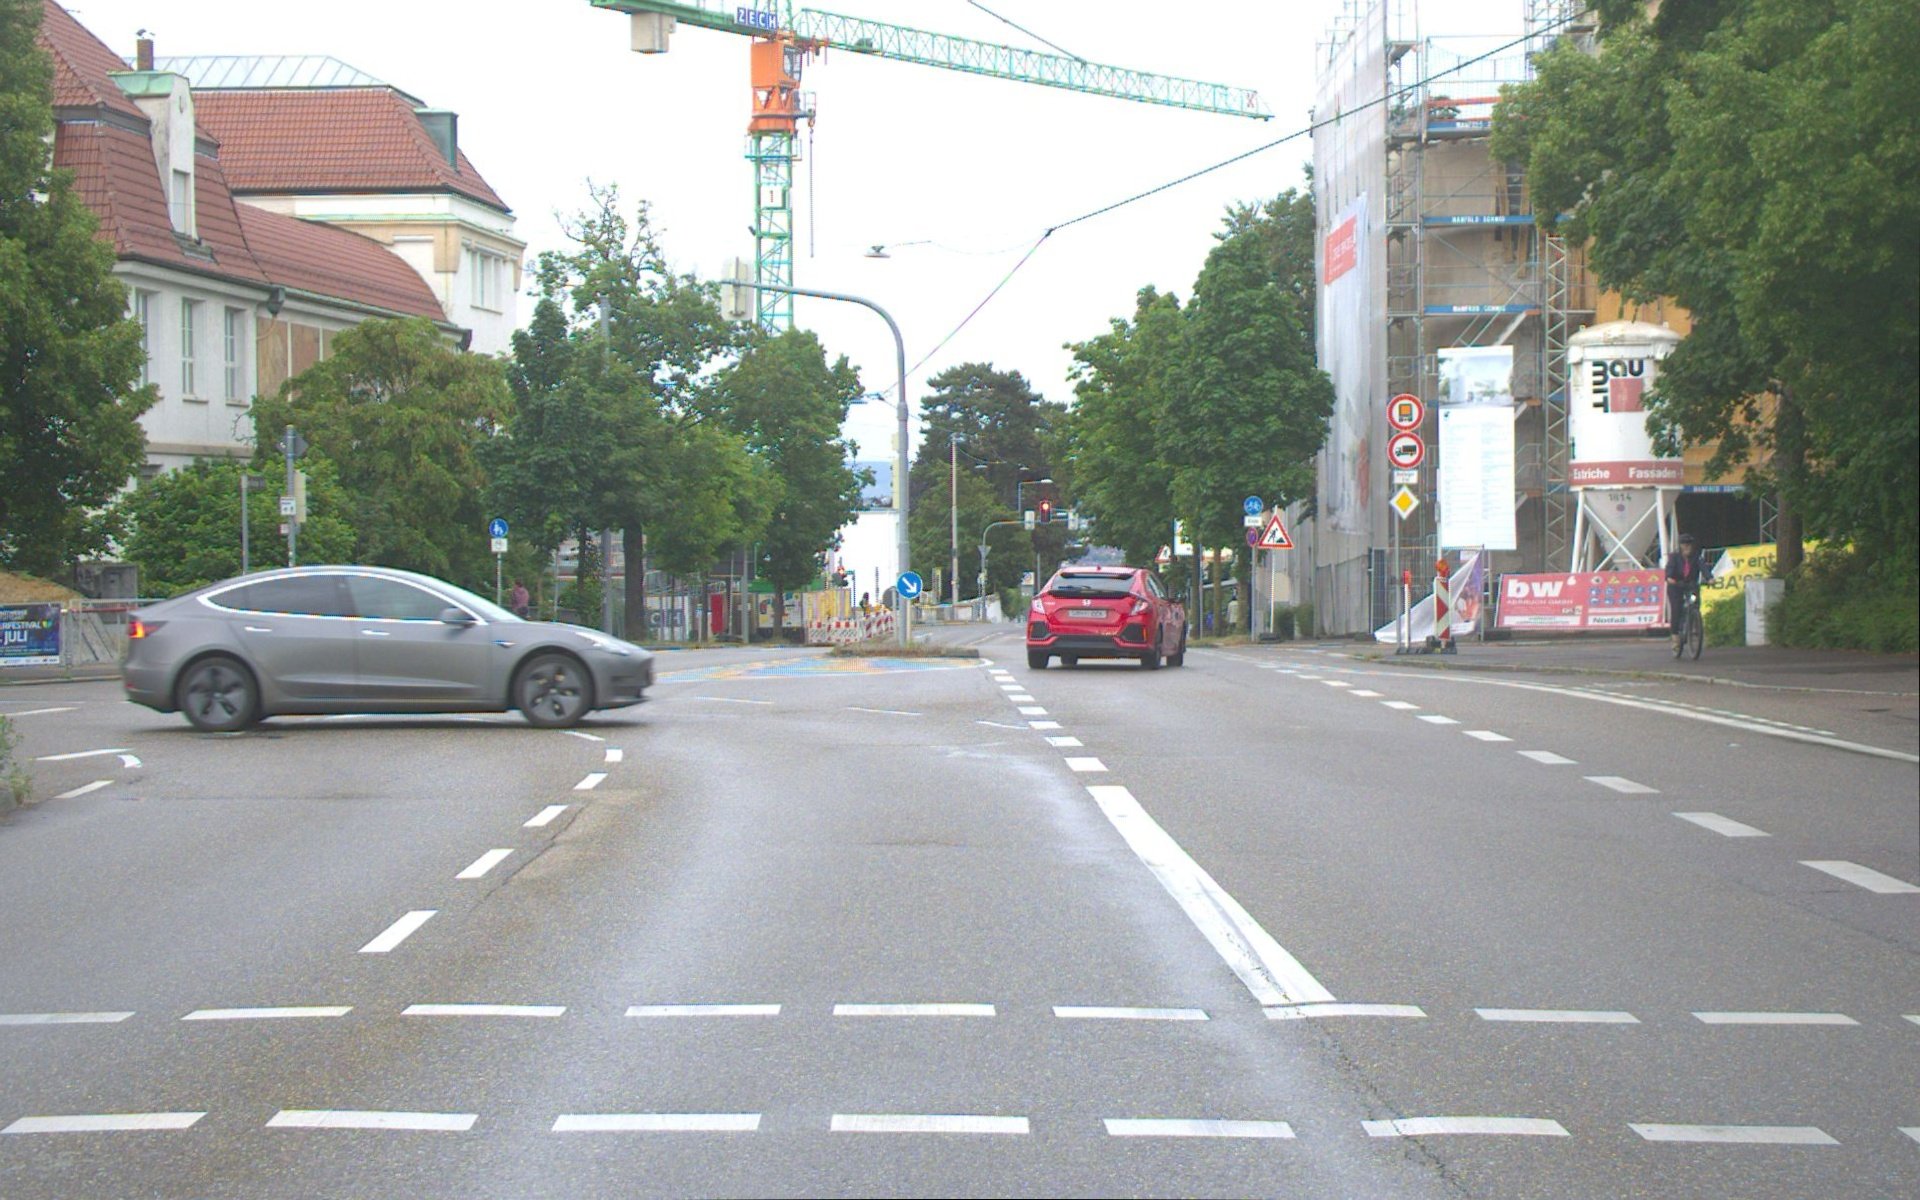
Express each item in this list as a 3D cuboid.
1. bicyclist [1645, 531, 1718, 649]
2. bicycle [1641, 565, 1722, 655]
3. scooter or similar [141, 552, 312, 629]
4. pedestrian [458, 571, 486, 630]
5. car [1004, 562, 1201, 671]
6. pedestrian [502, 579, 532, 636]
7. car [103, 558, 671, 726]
[{"bbox_3d":[9.767,-0.126,46.572,0.720,1.558,1.143,1,-1,1],"label":"bicyclist"},{"bbox_3d":[9.754,0.146,46.525,0.720,1.189,1.756,1,-1,1],"label":"bicycle"},{"bbox_3d":[-14.150,-0.194,66.367,3.087,1.435,0.949,-1,1,-3],"label":"scooter or similar"},{"bbox_3d":[-11.867,0.011,83.632,0.587,1.424,0.467,1,-1,0],"label":"pedestrian"},{"bbox_3d":[2.042,0.194,47.973,1.994,1.420,4.517,0,1,12],"label":"car"},{"bbox_3d":[-10.926,0.186,84.841,0.637,1.381,0.606,1,-1,-2],"label":"pedestrian"},{"bbox_3d":[-4.970,0.352,30.365,4.769,1.420,2.000,0,1,-4],"label":"car"}]
